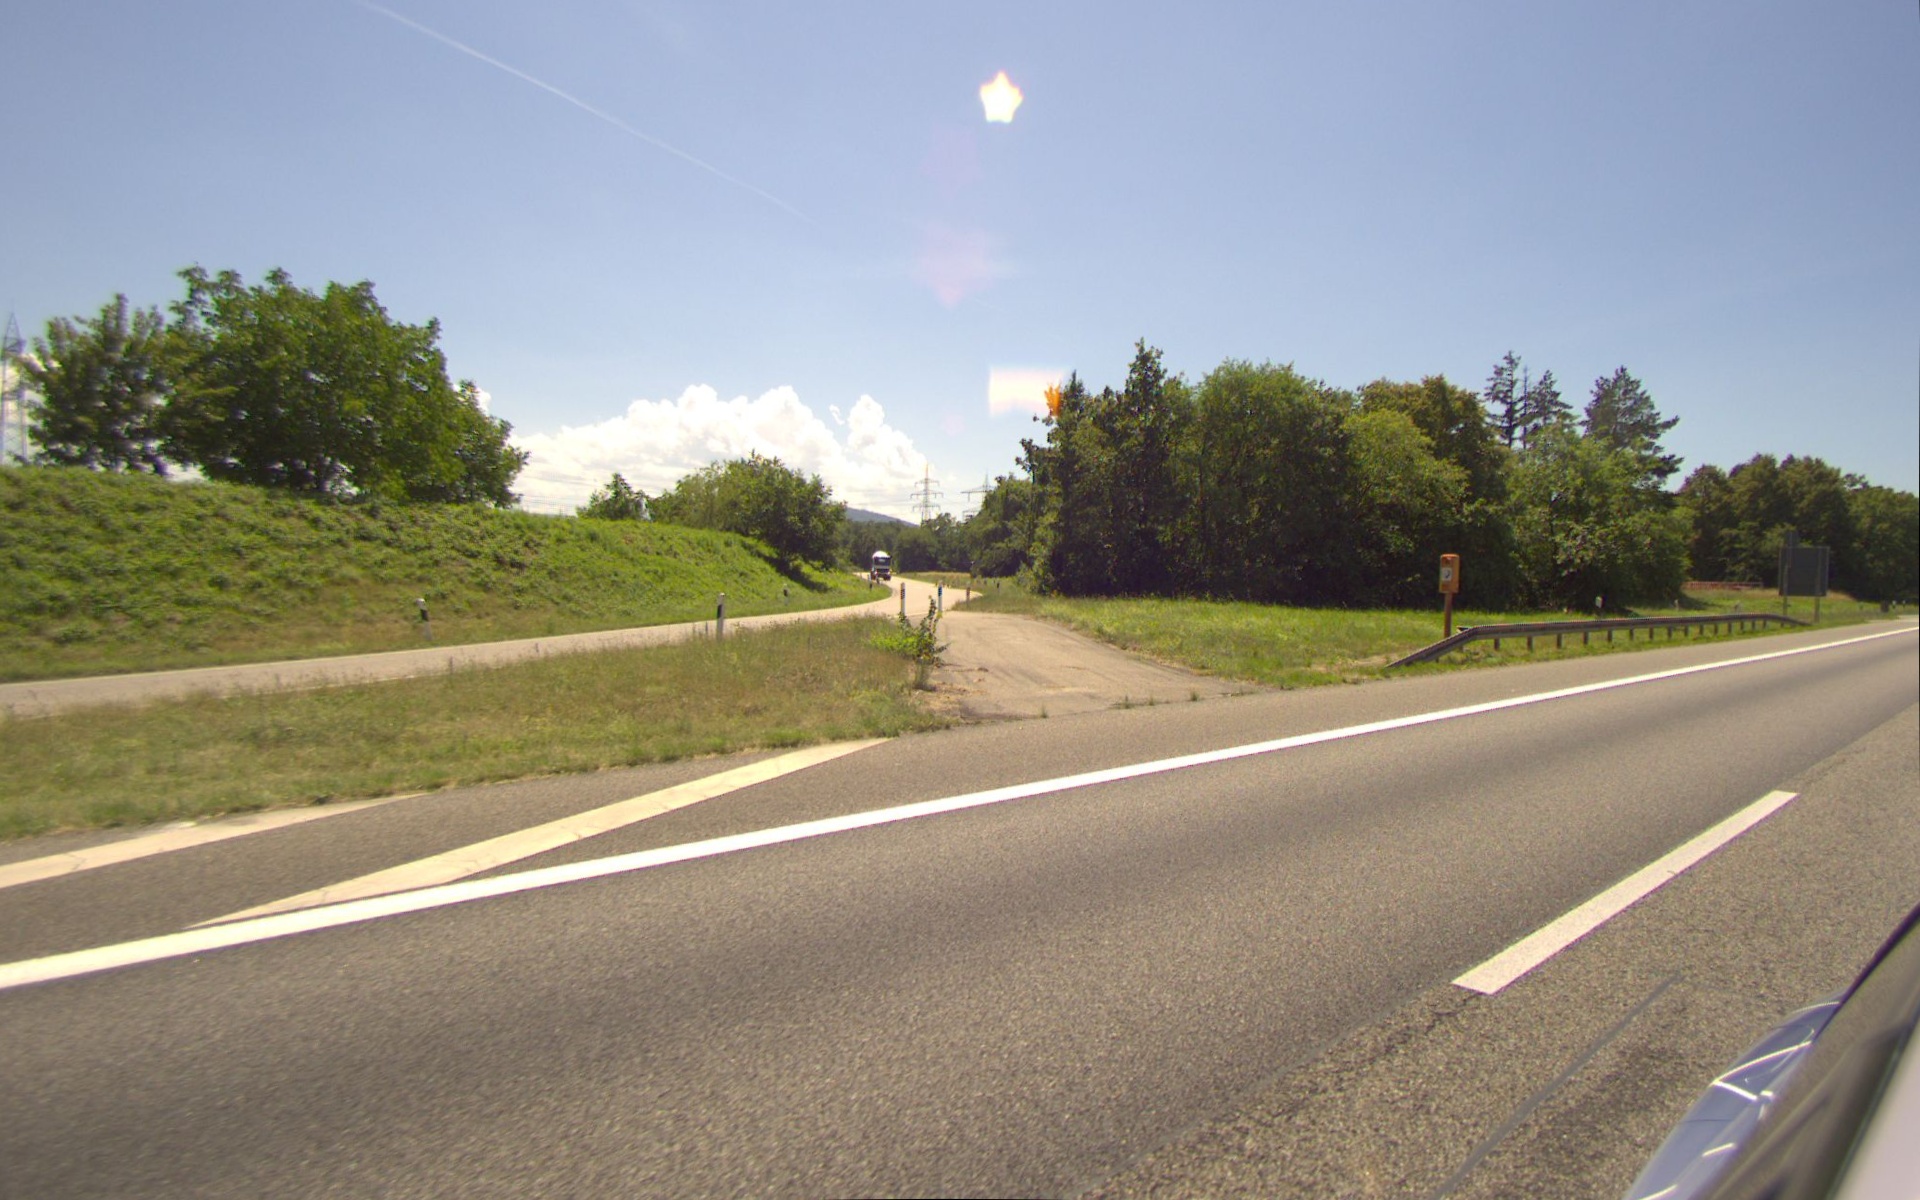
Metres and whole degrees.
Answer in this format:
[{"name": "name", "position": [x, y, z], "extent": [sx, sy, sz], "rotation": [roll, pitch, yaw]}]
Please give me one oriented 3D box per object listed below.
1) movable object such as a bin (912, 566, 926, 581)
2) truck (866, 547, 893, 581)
[{"name": "movable object such as a bin", "position": [-6.057, -3.945, 149.838], "extent": [1.960, 2.039, 4.003], "rotation": [0, 0, -4]}, {"name": "truck", "position": [-10.771, -4.725, 134.664], "extent": [3.018, 4.135, 7.922], "rotation": [0, 0, -8]}]
